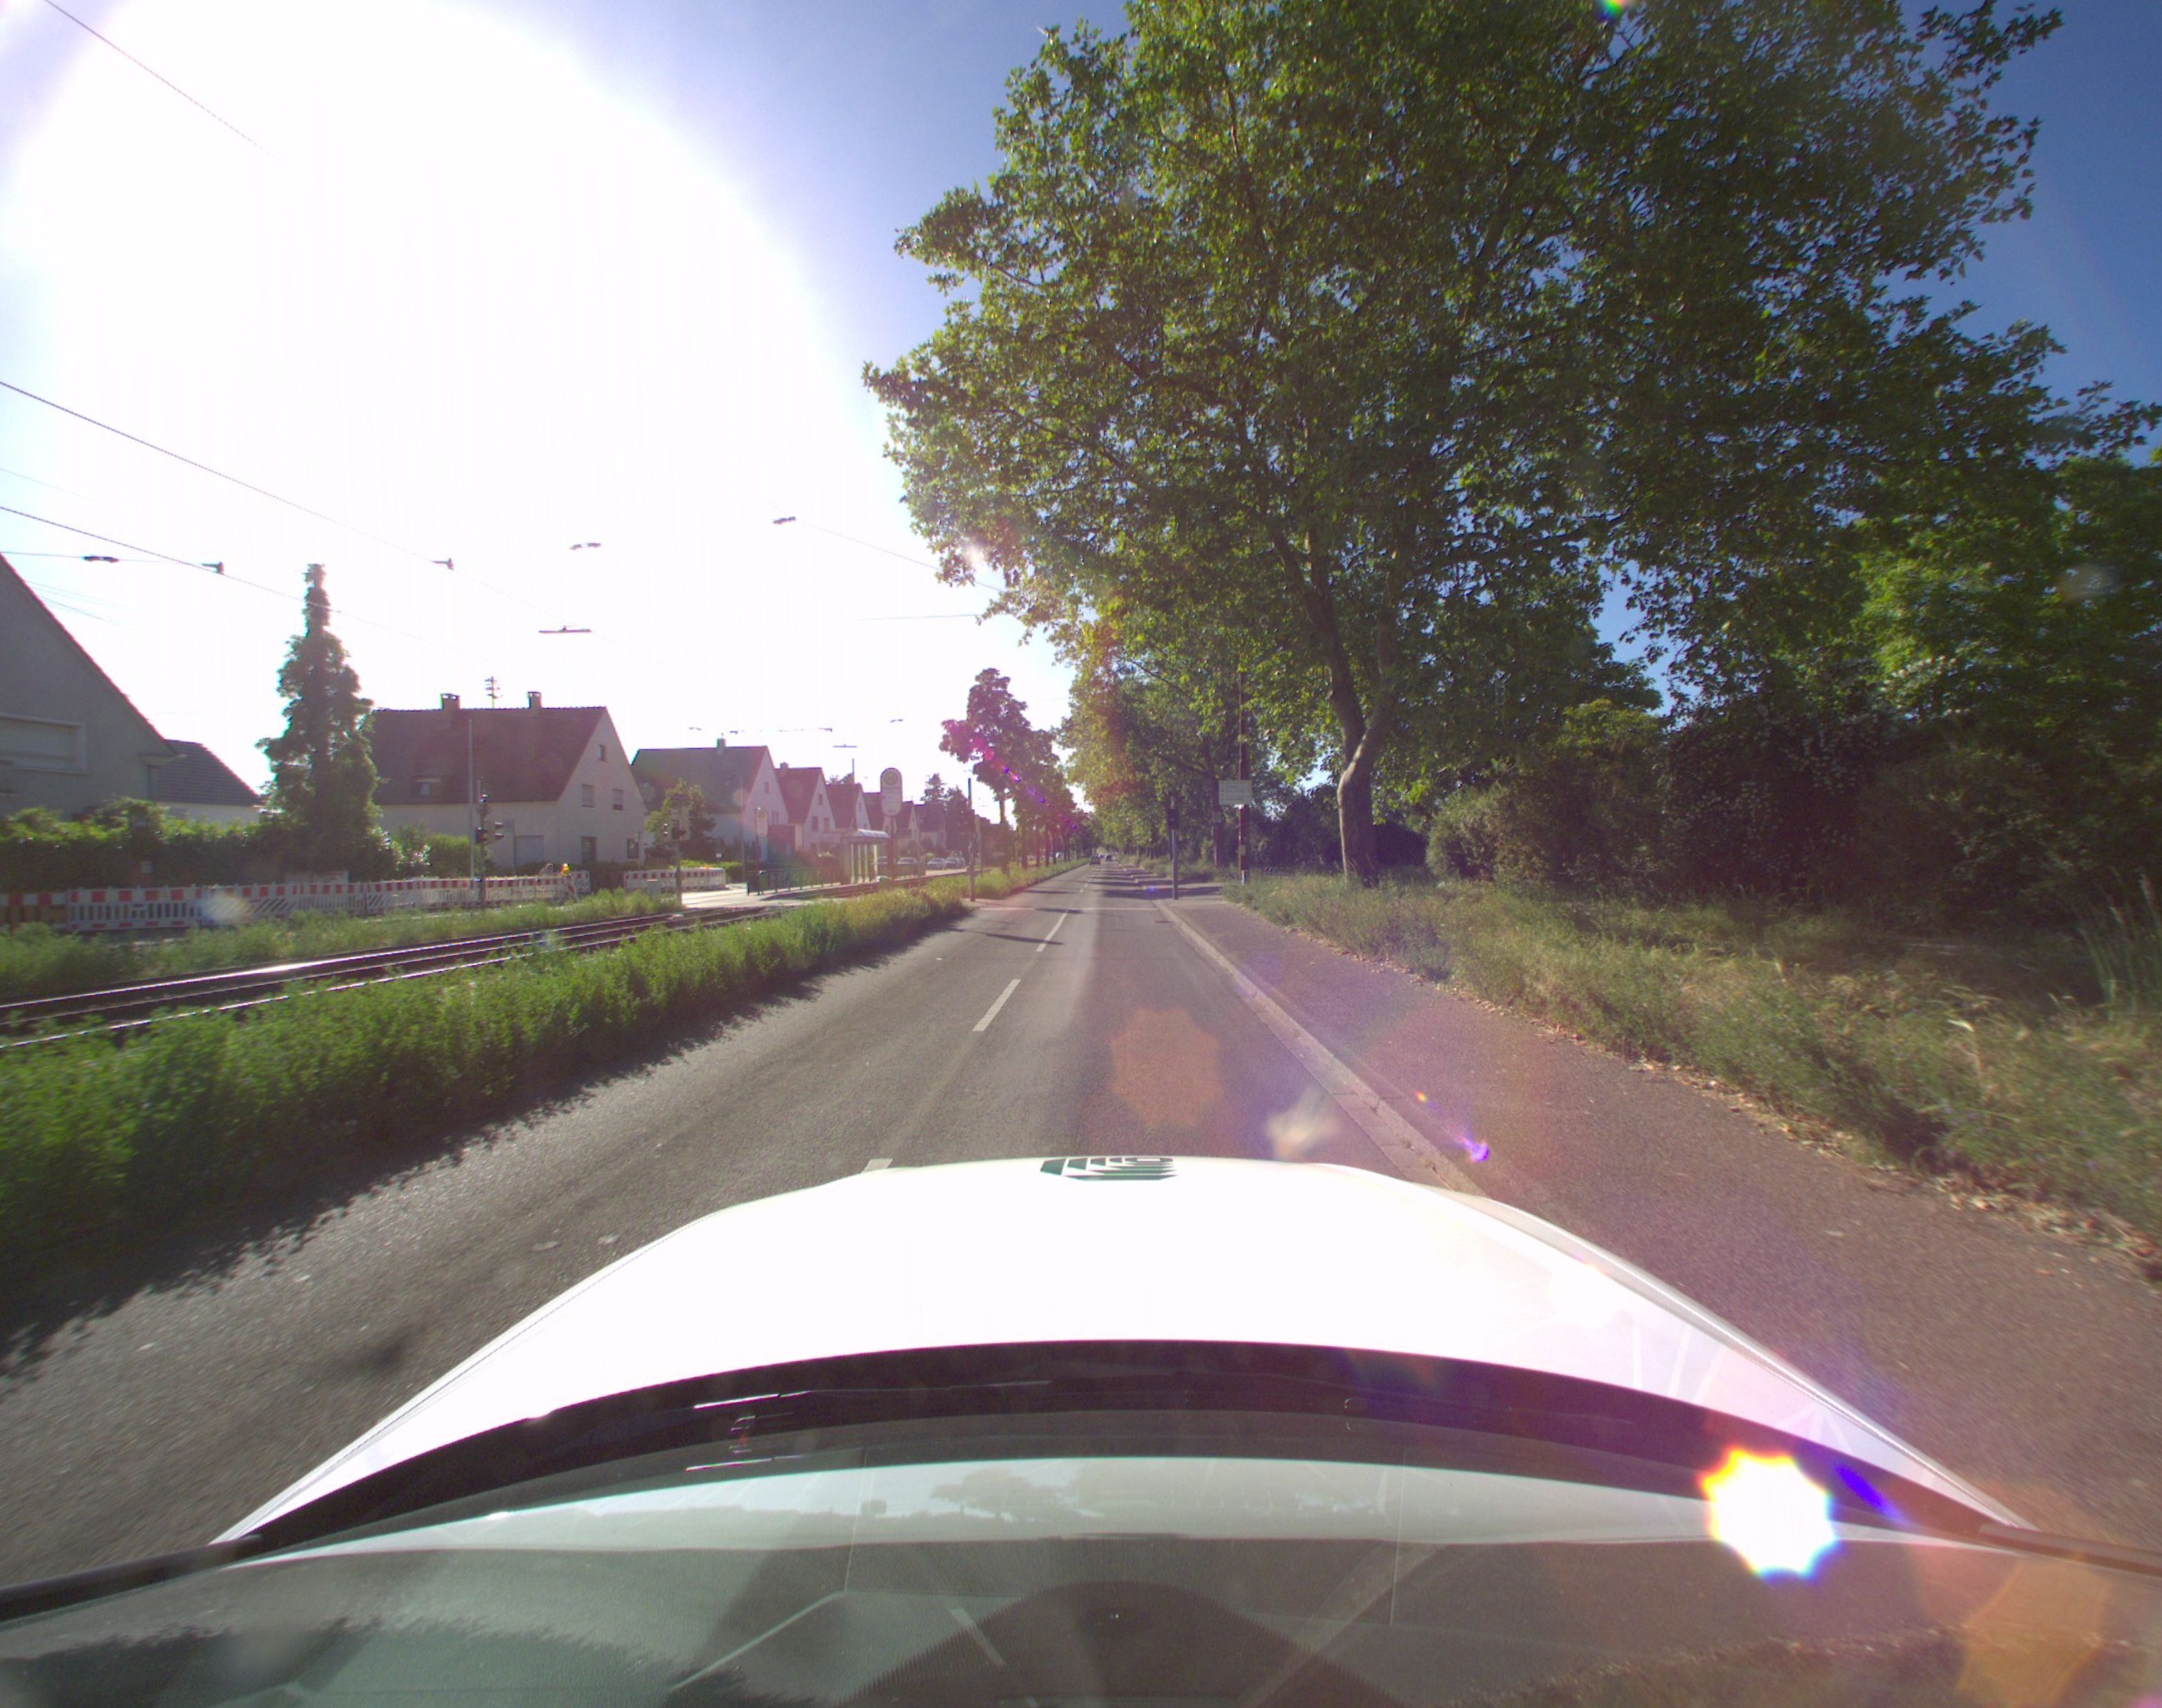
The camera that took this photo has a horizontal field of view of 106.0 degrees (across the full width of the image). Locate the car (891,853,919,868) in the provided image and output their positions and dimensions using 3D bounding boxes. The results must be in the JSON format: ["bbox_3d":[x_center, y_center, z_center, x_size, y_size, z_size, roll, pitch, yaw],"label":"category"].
[{"bbox_3d":[-18.680,0.695,86.737,1.919,1.495,4.258,0,0,2],"label":"car"}]

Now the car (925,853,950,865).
[{"bbox_3d":[-17.723,0.651,100.650,1.985,1.426,4.414,0,0,4],"label":"car"}]

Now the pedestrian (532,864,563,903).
[{"bbox_3d":[-22.175,1.227,33.893,0.792,1.534,0.810,-1,2,-13],"label":"pedestrian"}]

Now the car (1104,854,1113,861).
[{"bbox_3d":[6.391,0.867,191.467,1.986,1.603,4.475,0,0,1],"label":"car"}]

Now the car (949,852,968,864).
[{"bbox_3d":[-17.178,0.544,114.350,1.939,1.553,4.058,0,0,2],"label":"car"}]

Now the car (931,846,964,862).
[{"bbox_3d":[-22.197,-0.039,135.632,5.010,2.625,2.103,-1,1,1],"label":"car"}]

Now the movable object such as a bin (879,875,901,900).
[{"bbox_3d":[-4.654,0.818,19.872,0.384,0.582,0.380,0,0,10],"label":"movable object such as a bin"}]

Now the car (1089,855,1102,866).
[{"bbox_3d":[2.198,0.930,120.496,1.853,1.601,4.229,0,0,1],"label":"car"}]

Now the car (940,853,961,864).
[{"bbox_3d":[-17.519,0.621,109.573,1.986,1.450,4.129,2,0,2],"label":"car"}]

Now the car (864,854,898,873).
[{"bbox_3d":[-18.905,0.867,77.128,1.986,1.713,4.392,0,0,2],"label":"car"}]
